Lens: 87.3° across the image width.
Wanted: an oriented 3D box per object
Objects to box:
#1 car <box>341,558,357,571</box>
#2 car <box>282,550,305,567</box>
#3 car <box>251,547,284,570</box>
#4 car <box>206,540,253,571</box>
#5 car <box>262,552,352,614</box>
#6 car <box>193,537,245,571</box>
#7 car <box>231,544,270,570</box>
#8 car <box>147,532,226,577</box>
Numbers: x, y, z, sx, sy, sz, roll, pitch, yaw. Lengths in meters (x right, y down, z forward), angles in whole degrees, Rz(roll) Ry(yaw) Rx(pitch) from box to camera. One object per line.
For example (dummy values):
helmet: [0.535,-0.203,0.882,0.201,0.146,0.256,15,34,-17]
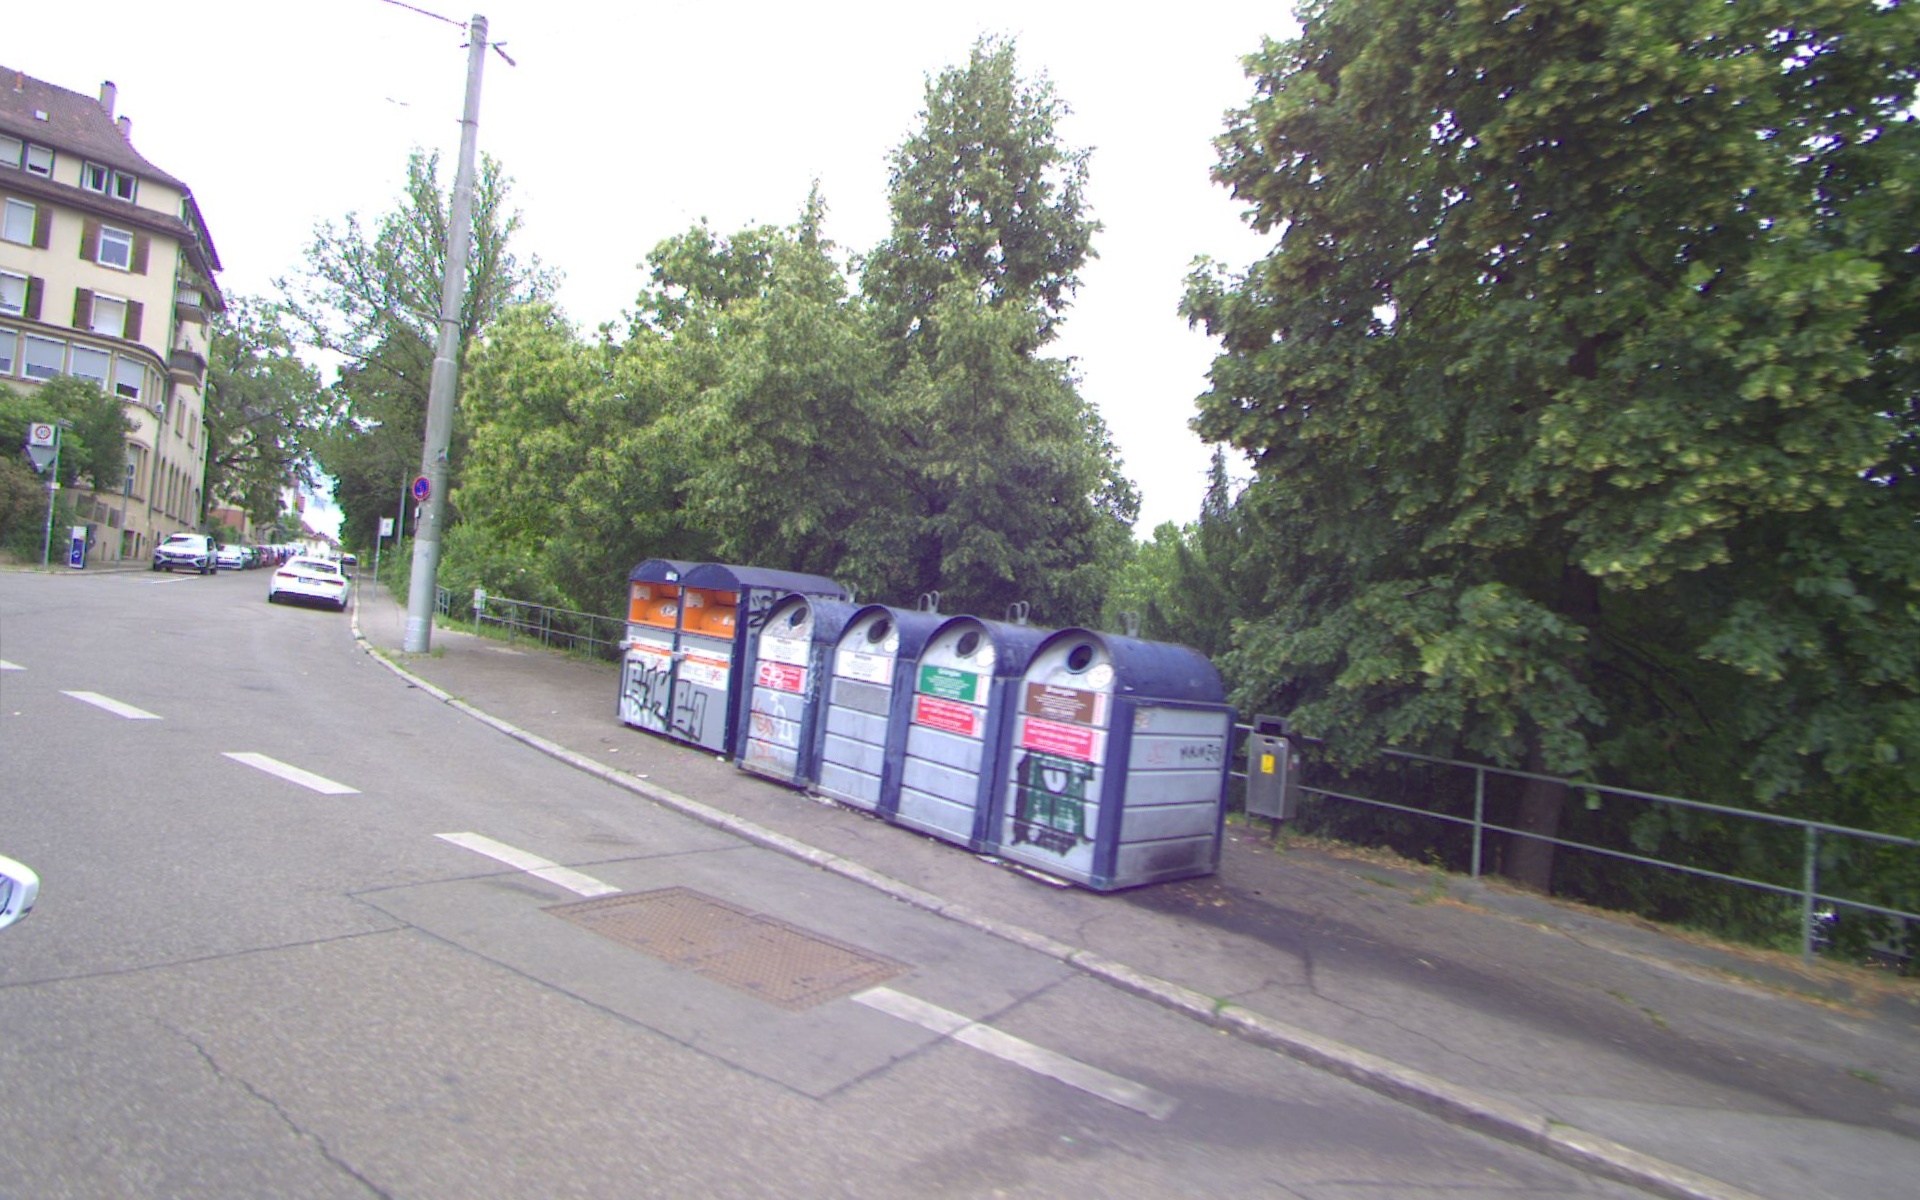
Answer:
car: [-82.650,-4.847,136.107,1.730,1.559,3.759,6,-1,-30]
car: [-73.524,-4.562,111.007,1.730,1.559,3.759,6,-1,-30]
car: [-54.622,-3.276,79.389,1.730,1.559,3.759,6,-1,-30]
car: [-42.358,-2.571,58.374,1.730,1.559,3.759,6,-1,-30]
car: [-18.952,-0.534,29.365,1.883,1.395,4.563,11,-3,-31]
car: [-40.098,-2.451,54.510,1.730,1.559,3.759,6,-1,-30]
car: [-47.885,-2.880,67.947,1.730,1.559,3.759,6,-1,-30]
car: [-31.952,-1.846,41.655,1.826,1.552,4.473,7,-2,-29]
